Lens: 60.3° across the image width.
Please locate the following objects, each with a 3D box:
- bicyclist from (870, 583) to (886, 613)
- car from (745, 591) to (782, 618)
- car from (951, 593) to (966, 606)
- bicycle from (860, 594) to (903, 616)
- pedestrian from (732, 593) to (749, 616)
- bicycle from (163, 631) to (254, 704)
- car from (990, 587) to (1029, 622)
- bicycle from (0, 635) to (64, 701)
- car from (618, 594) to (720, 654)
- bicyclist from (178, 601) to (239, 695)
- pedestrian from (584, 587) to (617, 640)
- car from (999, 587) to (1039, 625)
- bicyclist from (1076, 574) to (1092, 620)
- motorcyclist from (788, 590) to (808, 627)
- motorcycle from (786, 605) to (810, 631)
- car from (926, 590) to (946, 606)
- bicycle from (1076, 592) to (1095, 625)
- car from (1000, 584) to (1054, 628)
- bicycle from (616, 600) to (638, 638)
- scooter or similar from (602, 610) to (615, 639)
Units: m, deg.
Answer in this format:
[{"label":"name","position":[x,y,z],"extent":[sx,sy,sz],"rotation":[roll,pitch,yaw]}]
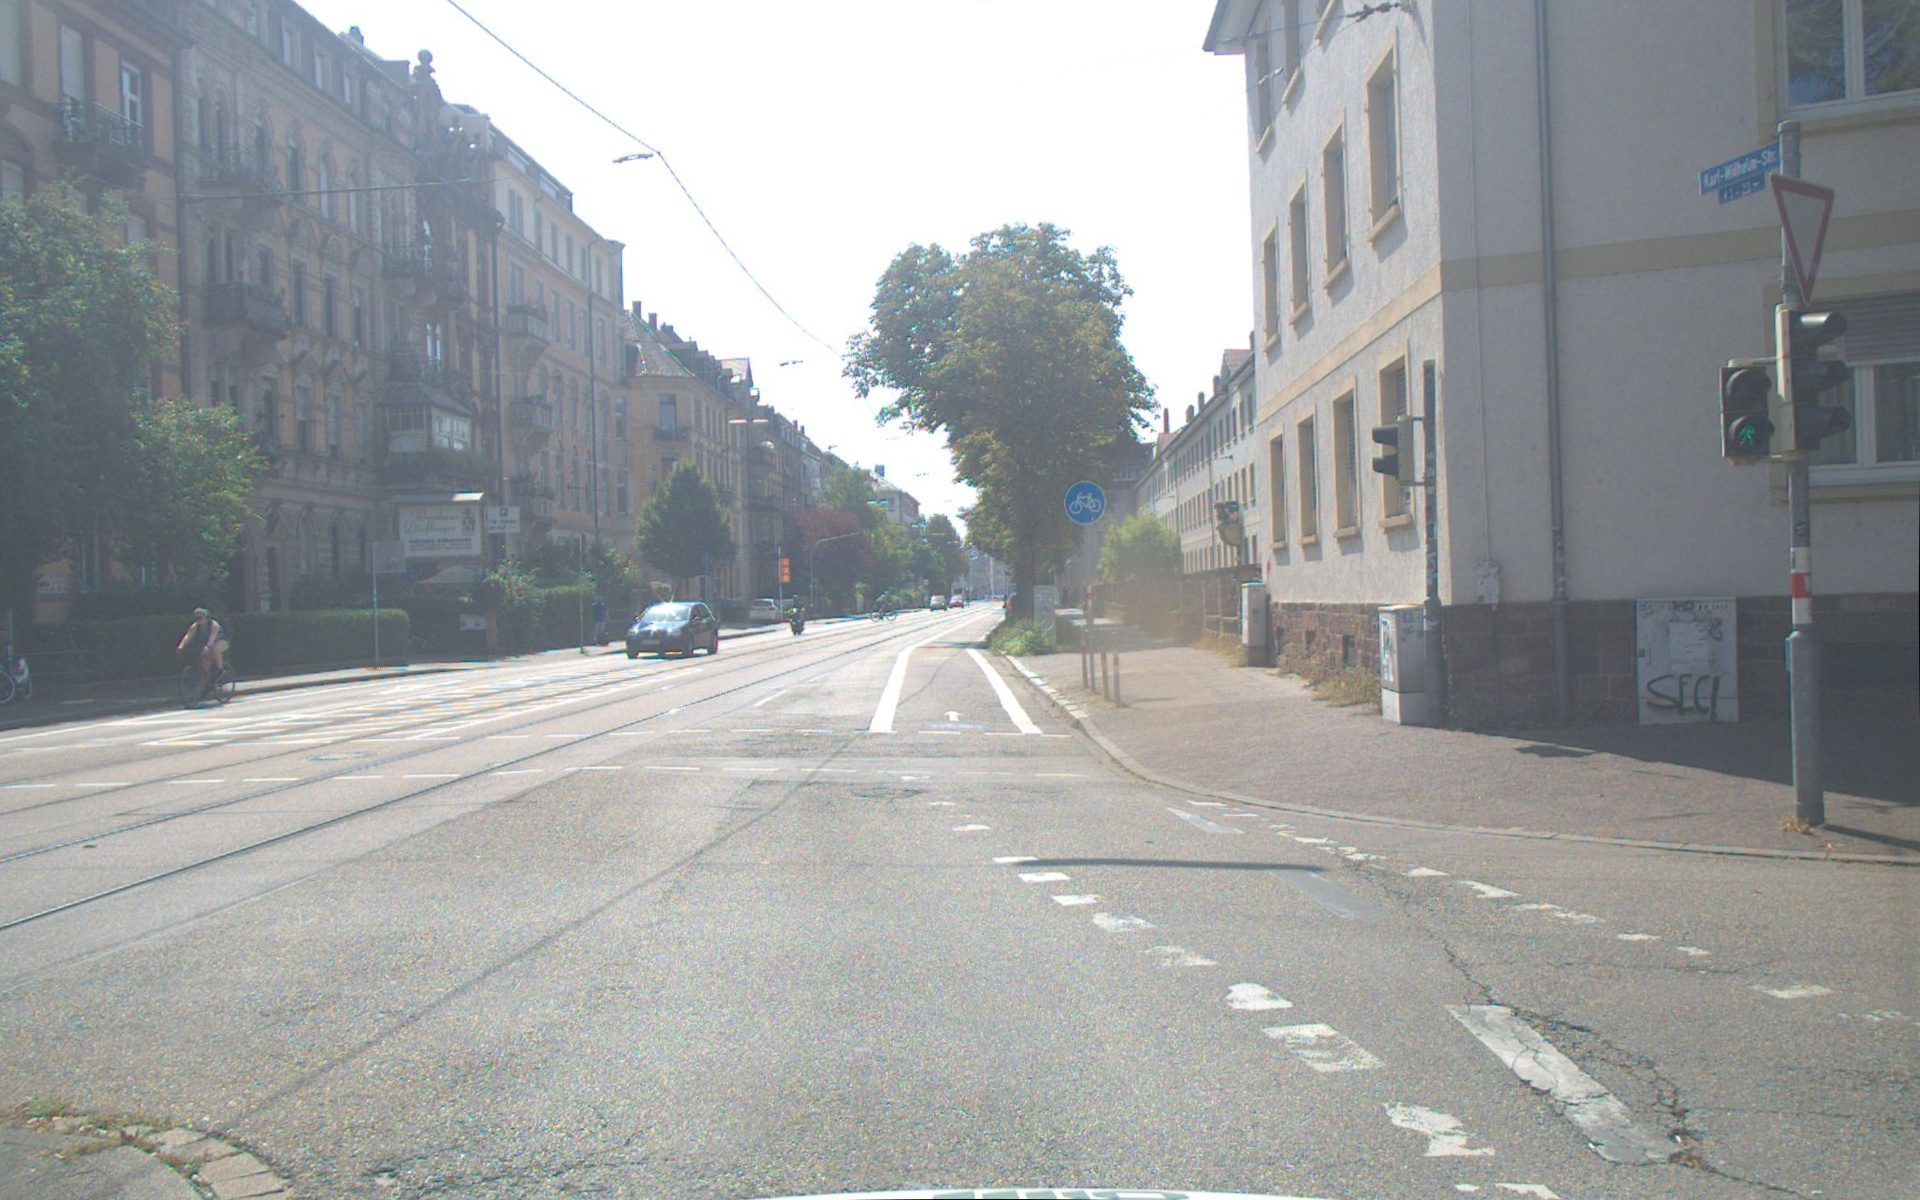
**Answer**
[{"label":"bicyclist","position":[-5.157,-0.103,104.380],"extent":[0.934,1.869,1.128],"rotation":[-2,-1,-3]},{"label":"car","position":[-12.796,0.266,107.901],"extent":[1.953,1.622,4.358],"rotation":[-2,0,-1]},{"label":"car","position":[-0.184,-0.086,207.852],"extent":[1.696,1.516,4.001],"rotation":[-2,0,2]},{"label":"bicycle","position":[-4.945,0.326,104.390],"extent":[2.651,1.291,1.150],"rotation":[-2,0,-5]},{"label":"pedestrian","position":[-15.175,0.302,114.523],"extent":[0.873,1.537,0.862],"rotation":[-2,0,-29]},{"label":"bicycle","position":[-12.398,1.097,27.348],"extent":[0.568,1.085,1.844],"rotation":[-2,1,2]},{"label":"car","position":[2.487,0.232,81.494],"extent":[1.719,1.502,4.459],"rotation":[-6,0,2]},{"label":"bicycle","position":[-15.576,1.116,27.336],"extent":[0.477,1.003,1.658],"rotation":[-2,0,5]},{"label":"car","position":[-7.954,0.629,45.575],"extent":[1.690,1.458,4.180],"rotation":[1,2,5]},{"label":"bicyclist","position":[-12.405,0.785,27.317],"extent":[0.568,1.496,0.776],"rotation":[-2,0,2]},{"label":"pedestrian","position":[-12.424,0.463,57.231],"extent":[0.865,1.786,0.870],"rotation":[-2,0,2]},{"label":"car","position":[2.569,0.248,71.080],"extent":[1.583,1.503,4.040],"rotation":[-3,0,3]},{"label":"bicyclist","position":[4.155,-0.098,55.346],"extent":[0.428,1.538,0.472],"rotation":[-2,0,-1]},{"label":"motorcyclist","position":[-6.946,0.353,70.962],"extent":[0.675,1.538,0.773],"rotation":[-2,0,3]},{"label":"motorcycle","position":[-6.937,0.761,70.898],"extent":[0.677,1.049,2.158],"rotation":[-2,0,3]},{"label":"car","position":[-2.519,-0.263,174.636],"extent":[1.789,1.567,4.001],"rotation":[-2,0,2]},{"label":"bicycle","position":[4.169,0.277,55.212],"extent":[0.431,1.065,1.828],"rotation":[-2,0,-1]},{"label":"car","position":[2.598,0.193,63.492],"extent":[1.582,1.557,3.502],"rotation":[-3,0,9]},{"label":"bicycle","position":[-12.966,0.718,64.425],"extent":[0.382,1.430,1.582],"rotation":[-2,0,3]},{"label":"scooter or similar","position":[-12.030,0.834,56.603],"extent":[0.392,0.999,0.584],"rotation":[-1,0,-6]}]
